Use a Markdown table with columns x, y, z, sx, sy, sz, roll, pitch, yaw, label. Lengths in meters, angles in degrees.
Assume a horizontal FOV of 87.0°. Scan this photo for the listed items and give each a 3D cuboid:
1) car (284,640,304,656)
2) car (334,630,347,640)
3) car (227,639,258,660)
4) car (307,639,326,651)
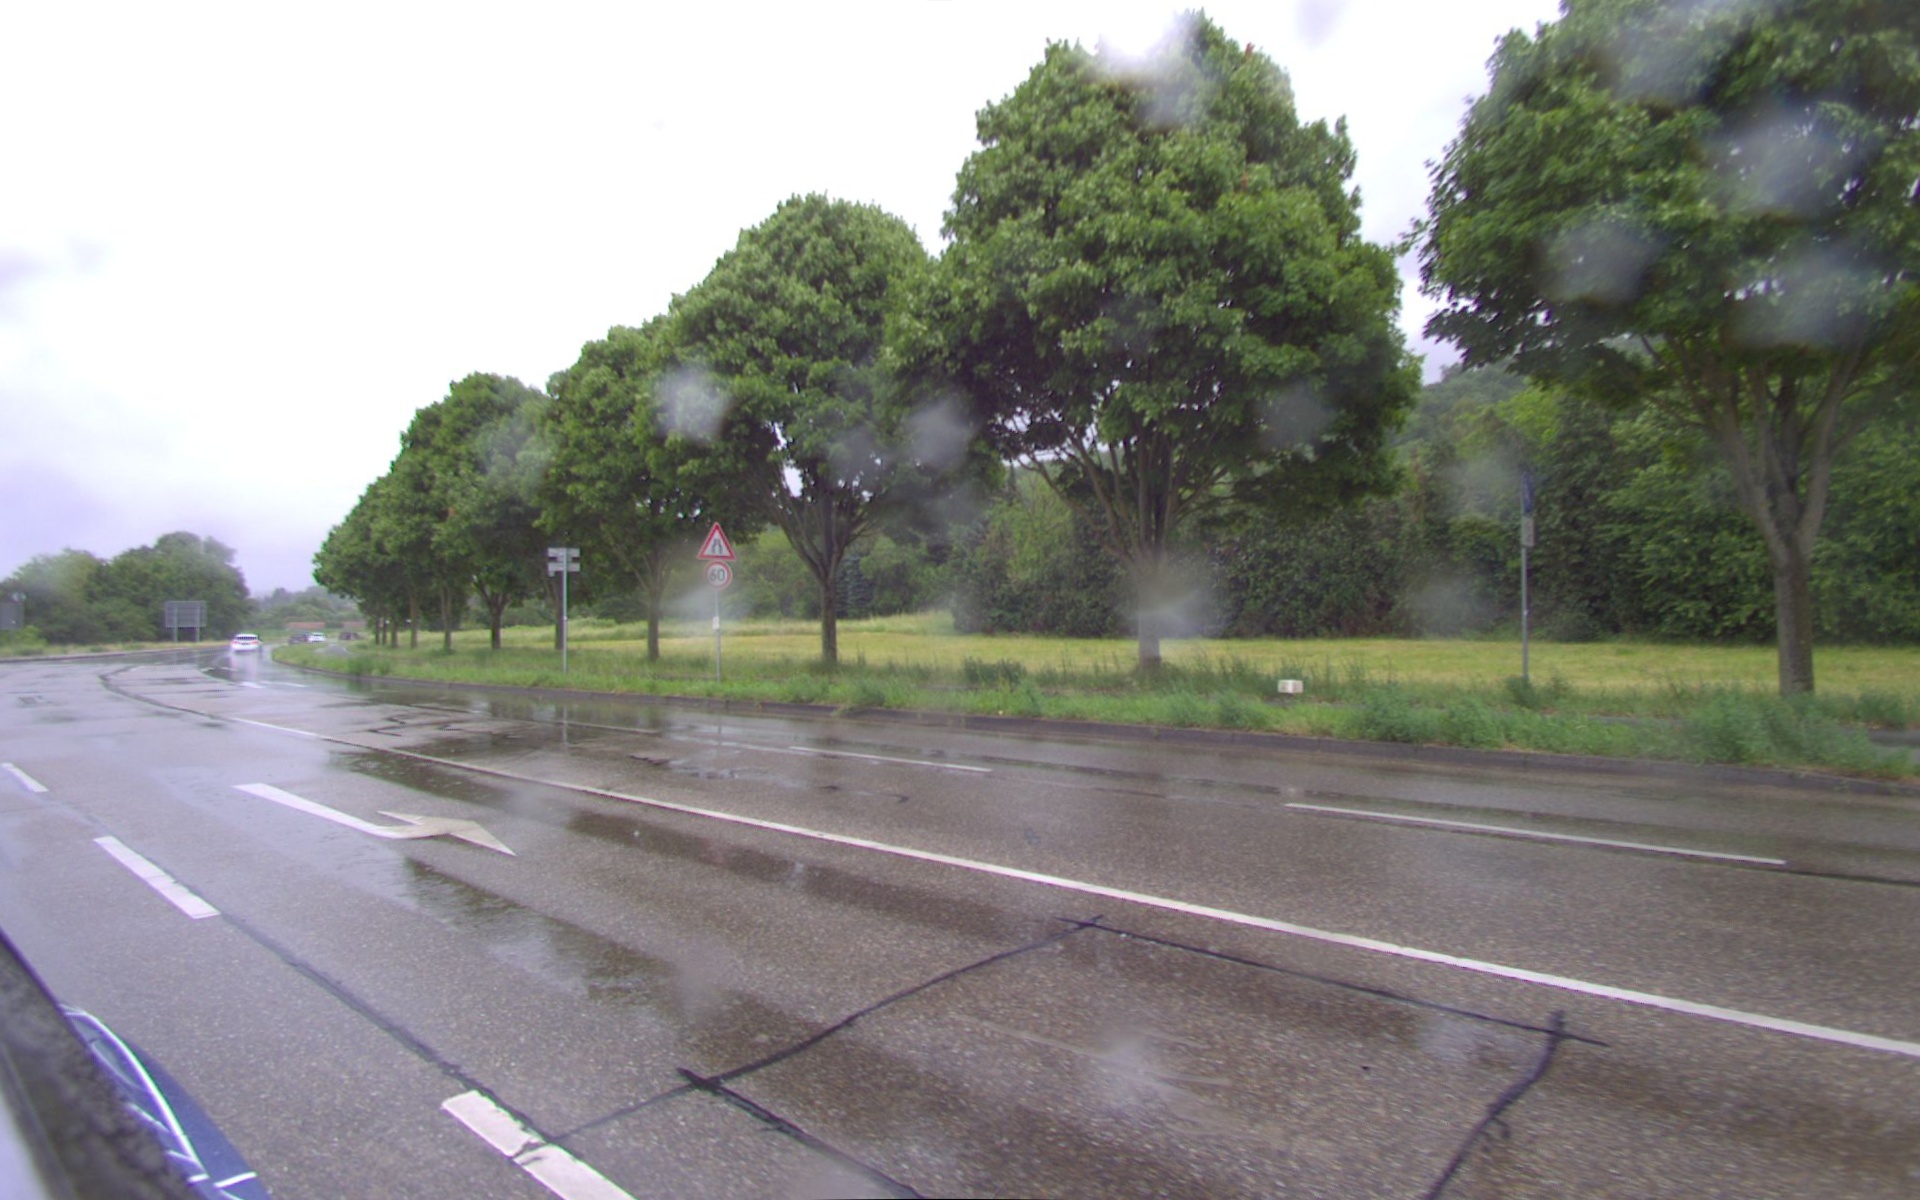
| x | y | z | sx | sy | sz | roll | pitch | yaw | label |
| --- | --- | --- | --- | --- | --- | --- | --- | --- | --- |
| -76.517 | 5.512 | 116.306 | 1.858 | 1.599 | 4.130 | -2 | 0 | -32 | car |
| -107.783 | 6.112 | 176.098 | 1.898 | 1.756 | 4.301 | 2 | -2 | -32 | car |
| -54.785 | 3.748 | 77.278 | 1.854 | 1.585 | 4.655 | 2 | -3 | -36 | car |
| -82.818 | 5.786 | 130.262 | 1.715 | 1.498 | 4.023 | 1 | -2 | -28 | car |
